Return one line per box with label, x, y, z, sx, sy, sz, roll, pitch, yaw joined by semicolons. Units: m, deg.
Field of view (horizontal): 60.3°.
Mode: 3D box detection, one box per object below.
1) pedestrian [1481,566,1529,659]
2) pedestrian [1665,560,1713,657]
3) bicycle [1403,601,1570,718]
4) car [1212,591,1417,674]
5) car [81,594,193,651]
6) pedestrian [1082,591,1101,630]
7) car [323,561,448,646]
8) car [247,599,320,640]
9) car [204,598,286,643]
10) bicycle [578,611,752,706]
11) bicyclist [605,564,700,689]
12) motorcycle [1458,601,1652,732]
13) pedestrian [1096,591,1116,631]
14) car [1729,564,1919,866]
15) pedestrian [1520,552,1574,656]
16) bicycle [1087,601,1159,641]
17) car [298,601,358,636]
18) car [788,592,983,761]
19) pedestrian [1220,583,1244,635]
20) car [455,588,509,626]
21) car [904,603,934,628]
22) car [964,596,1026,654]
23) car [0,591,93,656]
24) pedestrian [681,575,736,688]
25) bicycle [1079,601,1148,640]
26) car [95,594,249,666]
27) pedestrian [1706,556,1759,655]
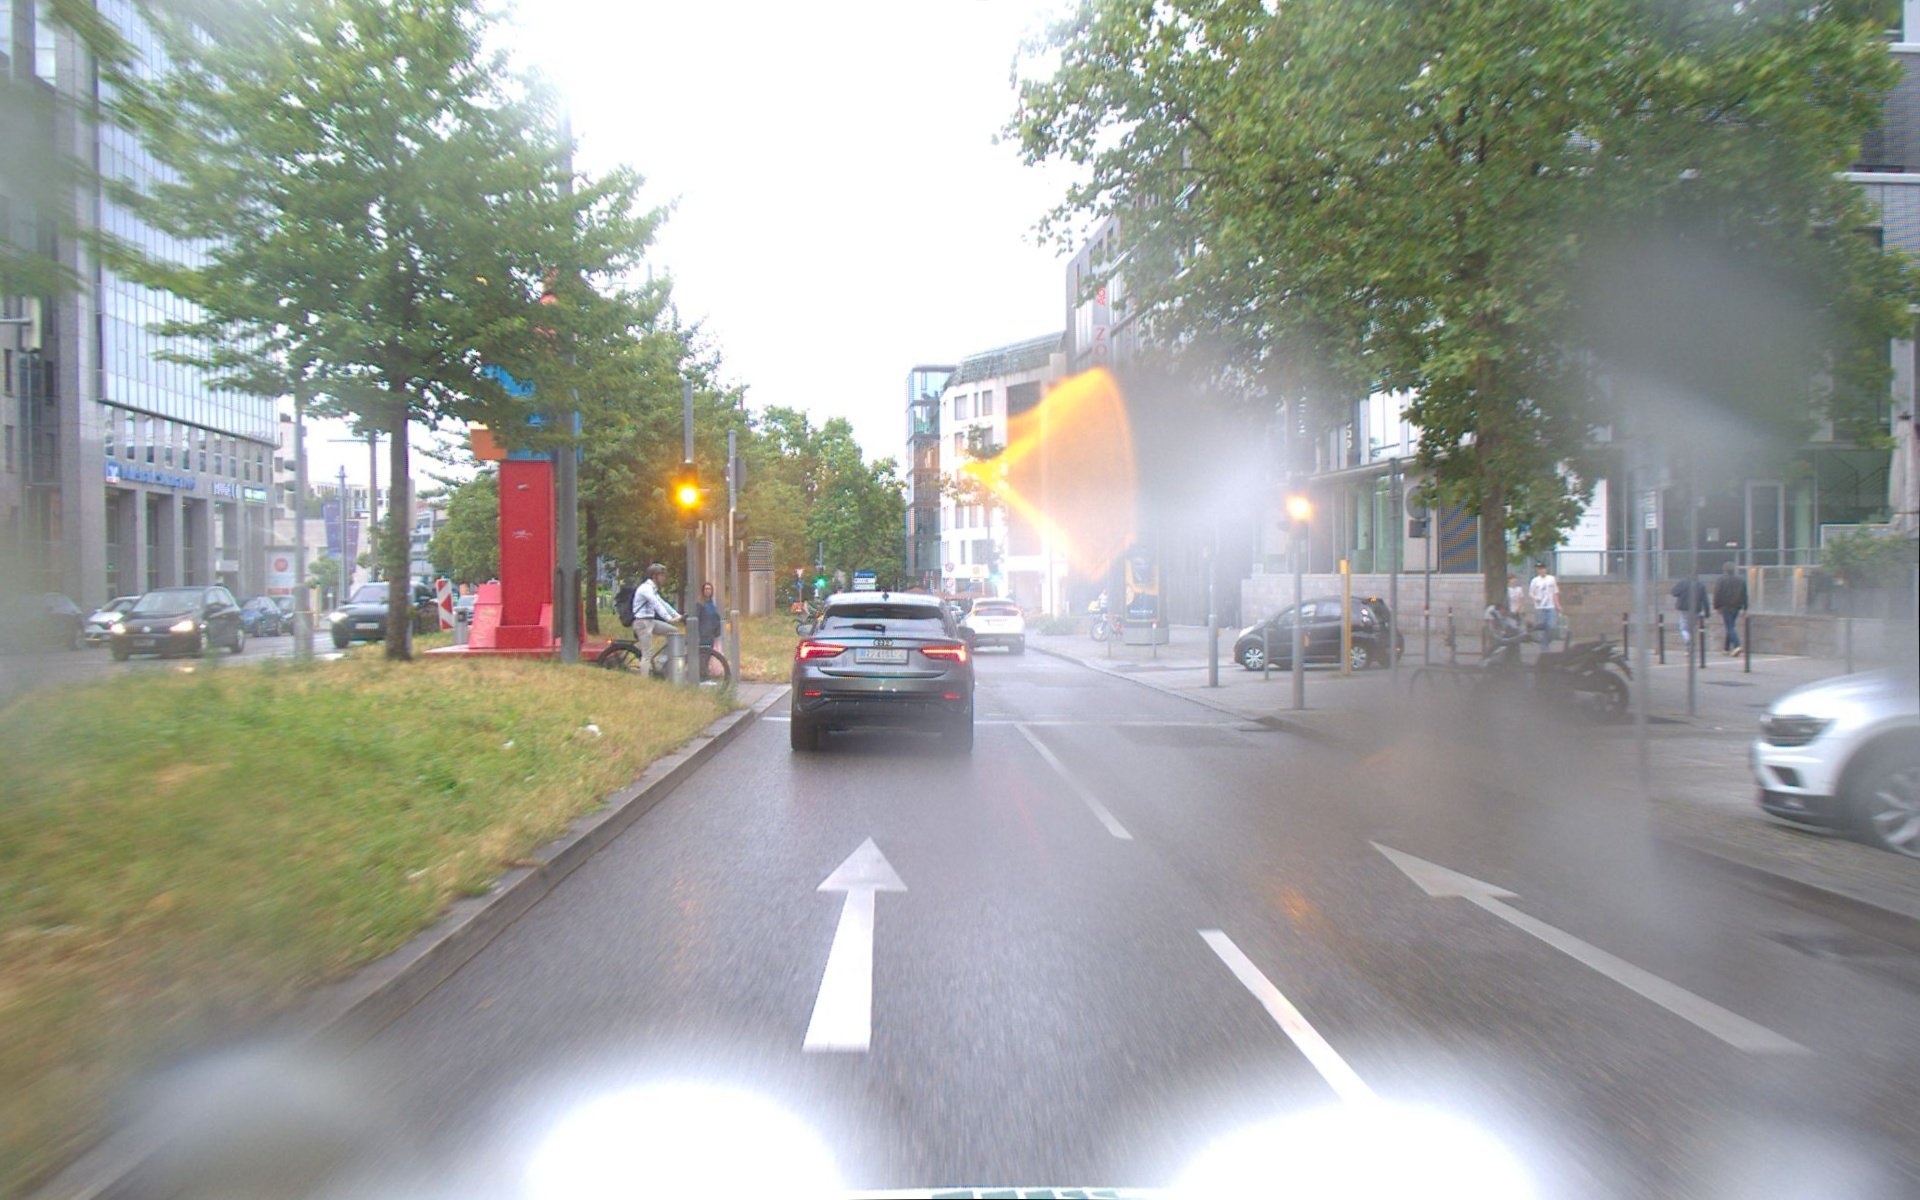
pedestrian;11.546;0.274;35.060;0.848;1.937;0.886;1;-1;11
pedestrian;14.020;0.159;31.818;0.626;1.814;0.771;-4;-1;15
bicycle;6.748;0.752;21.277;1.940;1.440;0.726;1;-1;8
car;7.204;0.642;33.767;3.795;1.595;1.658;0;-1;42
car;-24.501;0.657;49.369;1.775;1.575;3.993;-1;0;-8
pedestrian;7.053;0.582;88.488;0.838;2.049;0.975;1;-1;-5
car;-13.681;0.060;39.610;1.956;1.858;3.994;-2;1;-7
car;-27.492;0.780;67.323;1.775;1.575;3.993;-1;0;-8
car;-26.599;0.740;61.666;1.775;1.575;3.993;-1;0;-8
bicycle;-4.049;0.801;22.807;2.209;1.182;0.750;3;-1;-1
bicyclist;-4.232;0.362;22.813;1.082;1.650;0.750;3;-1;-1
motorcycle;6.808;0.751;19.020;1.985;1.440;0.726;1;-1;8
pedestrian;7.714;0.581;87.339;0.838;2.049;0.975;1;-1;-5
car;6.782;0.618;9.603;4.135;1.698;1.837;-1;0;27
pedestrian;12.407;0.082;34.986;0.916;2.152;1.076;1;-1;11
bicycle;5.453;0.708;55.332;2.293;1.335;0.709;0;0;-8
car;-29.850;0.846;78.202;1.775;1.575;3.993;-1;0;-8
car;-0.711;0.705;17.477;1.812;1.550;4.038;0;1;-1
pedestrian;11.304;0.383;68.722;0.916;2.152;1.076;1;-1;11
car;-21.706;0.302;75.265;1.699;1.585;3.994;-2;1;-7
car;-2.615;0.973;106.170;1.811;1.550;4.038;0;0;0
car;1.043;0.722;50.575;1.811;1.698;4.038;0;0;0
car;-23.673;0.595;41.788;1.840;1.563;4.069;-1;0;-8
pedestrian;-4.167;0.515;27.408;0.647;1.825;0.751;1;-1;12
bicycle;5.305;0.699;57.189;2.293;1.335;0.709;0;0;-8
car;-16.427;0.588;34.700;1.772;1.333;3.992;-2;1;-9
pedestrian;14.677;0.112;31.435;0.651;1.814;0.920;-4;-1;15
